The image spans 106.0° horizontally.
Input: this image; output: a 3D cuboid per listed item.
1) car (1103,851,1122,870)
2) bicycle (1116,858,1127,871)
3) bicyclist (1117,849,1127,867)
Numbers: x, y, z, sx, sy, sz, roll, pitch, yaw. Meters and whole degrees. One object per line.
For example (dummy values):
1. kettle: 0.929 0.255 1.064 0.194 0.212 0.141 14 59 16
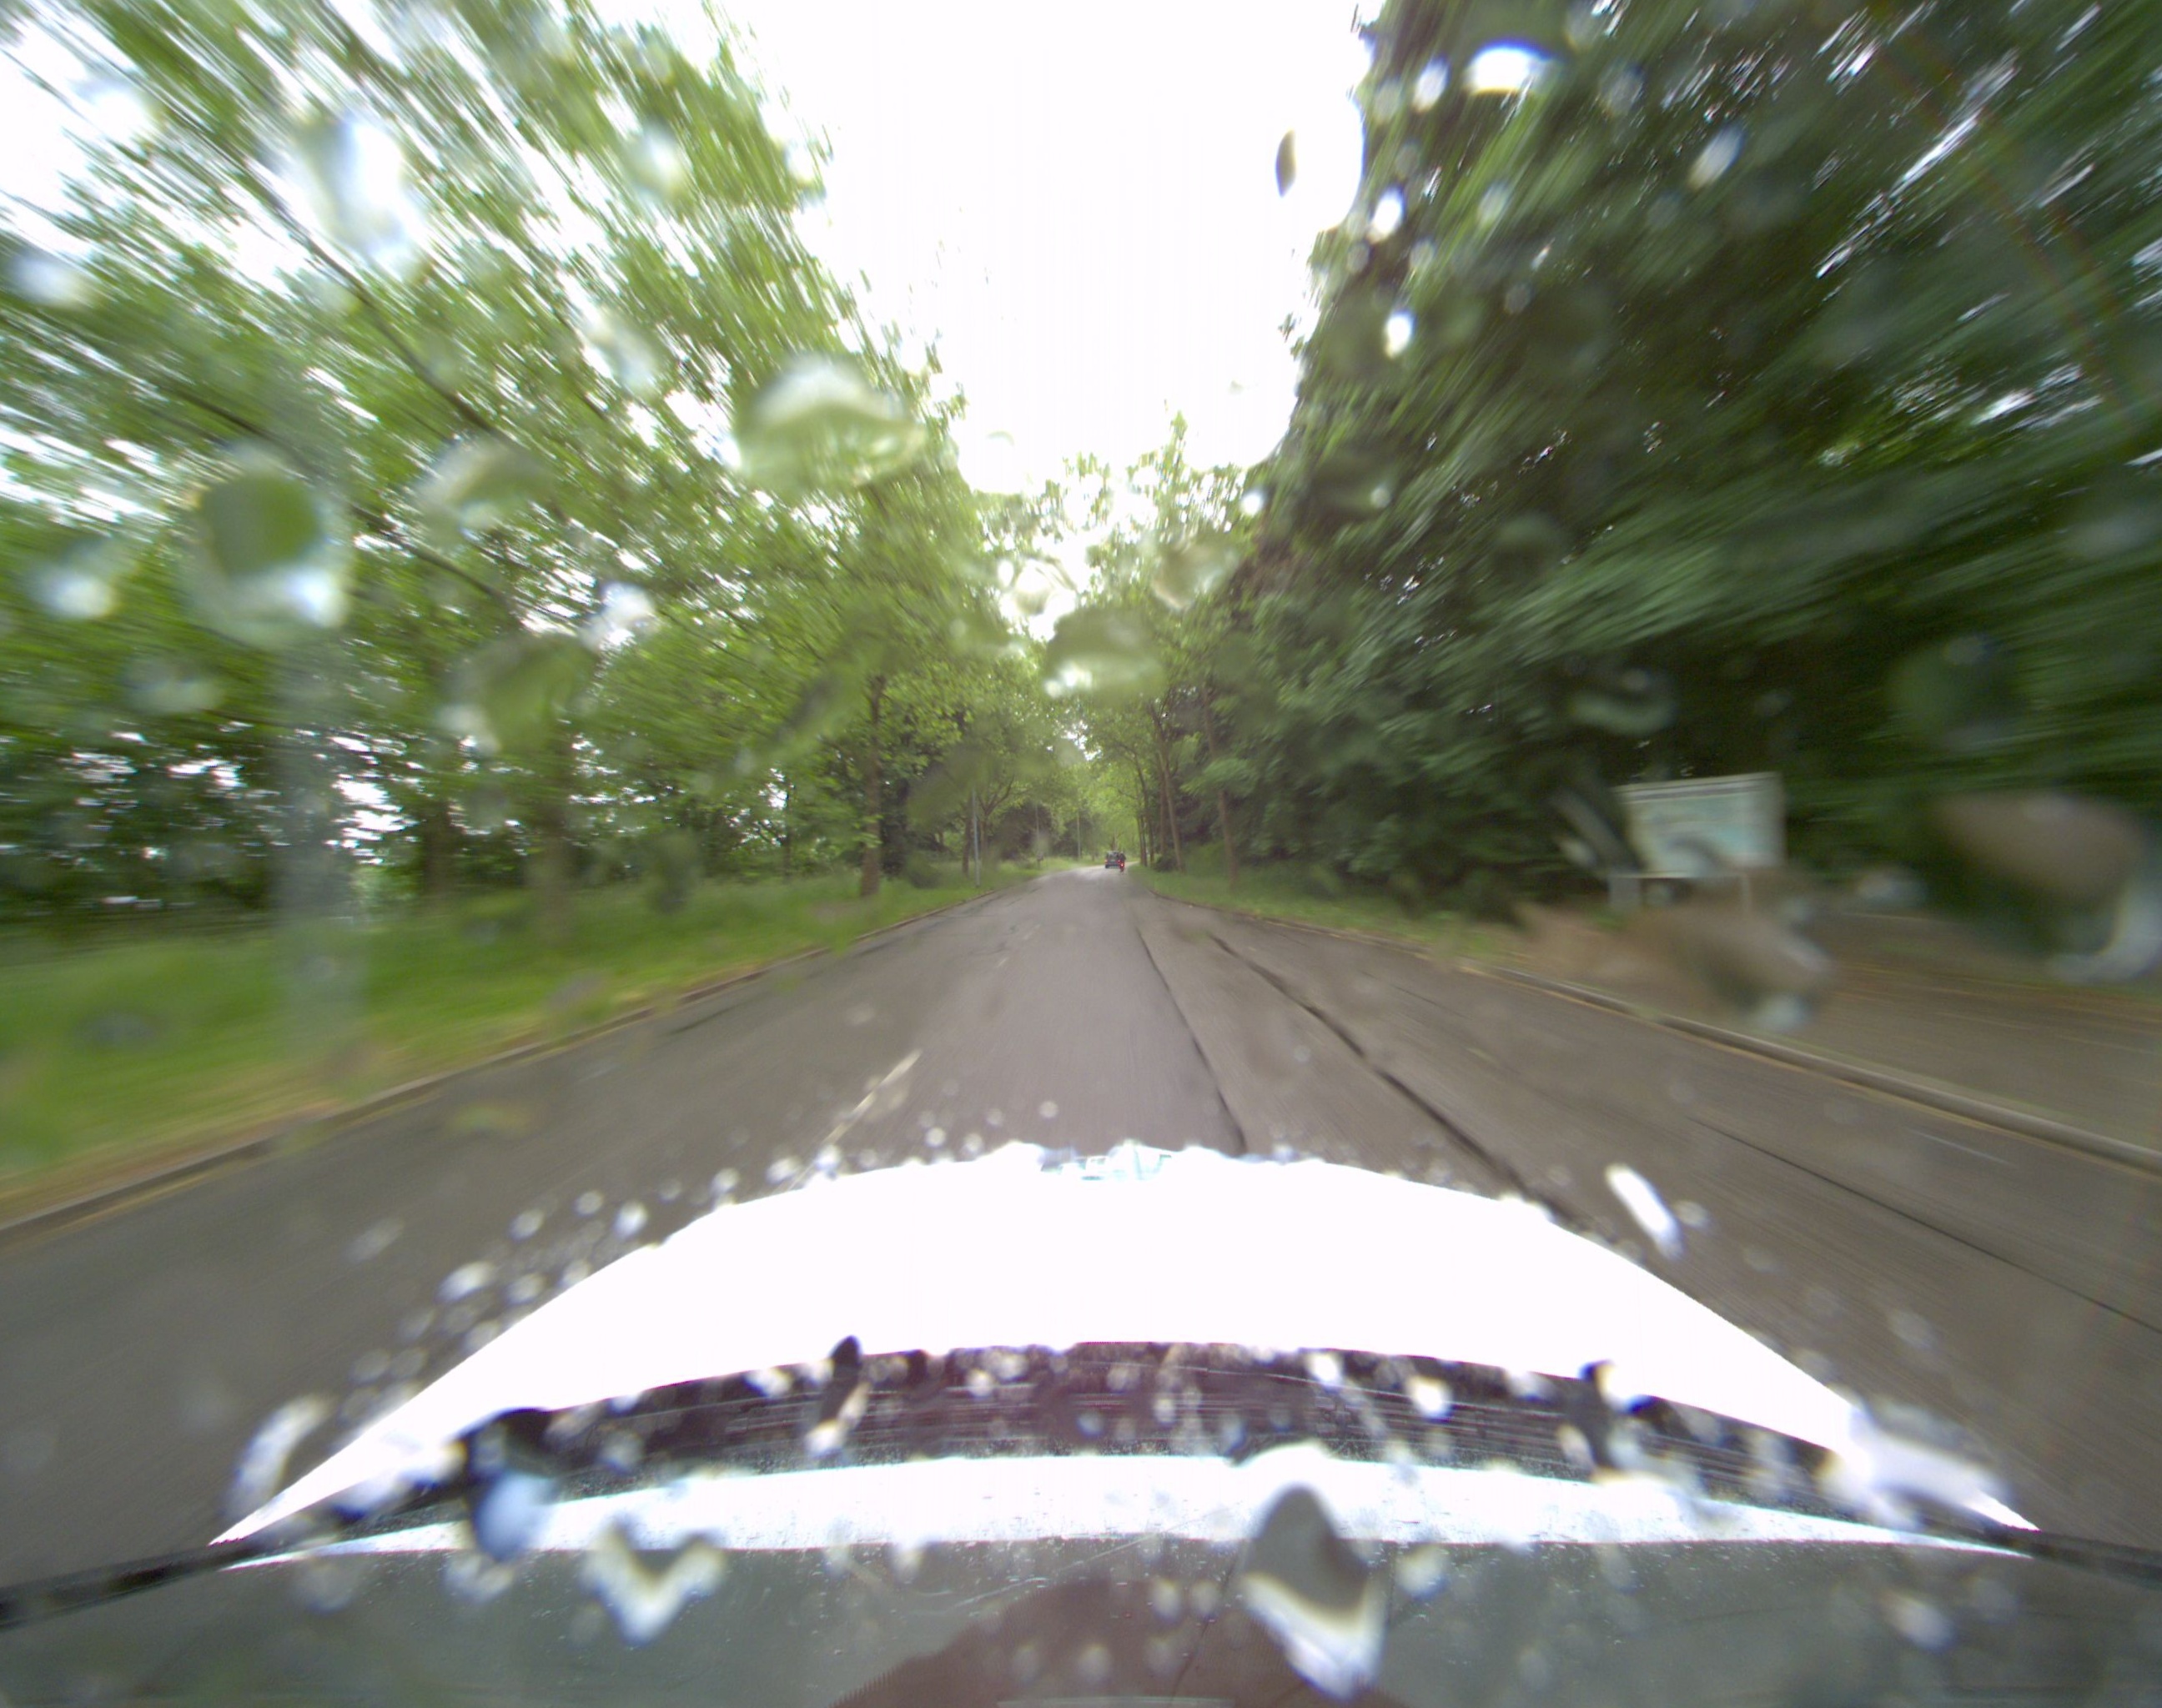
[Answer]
1. car: 3.412 0.656 88.563 1.978 1.925 4.001 -2 0 1
2. bicycle: 3.154 0.803 62.958 0.726 0.974 2.176 -1 0 5
3. bicyclist: 3.141 0.296 62.879 0.726 1.411 0.974 -1 0 4
